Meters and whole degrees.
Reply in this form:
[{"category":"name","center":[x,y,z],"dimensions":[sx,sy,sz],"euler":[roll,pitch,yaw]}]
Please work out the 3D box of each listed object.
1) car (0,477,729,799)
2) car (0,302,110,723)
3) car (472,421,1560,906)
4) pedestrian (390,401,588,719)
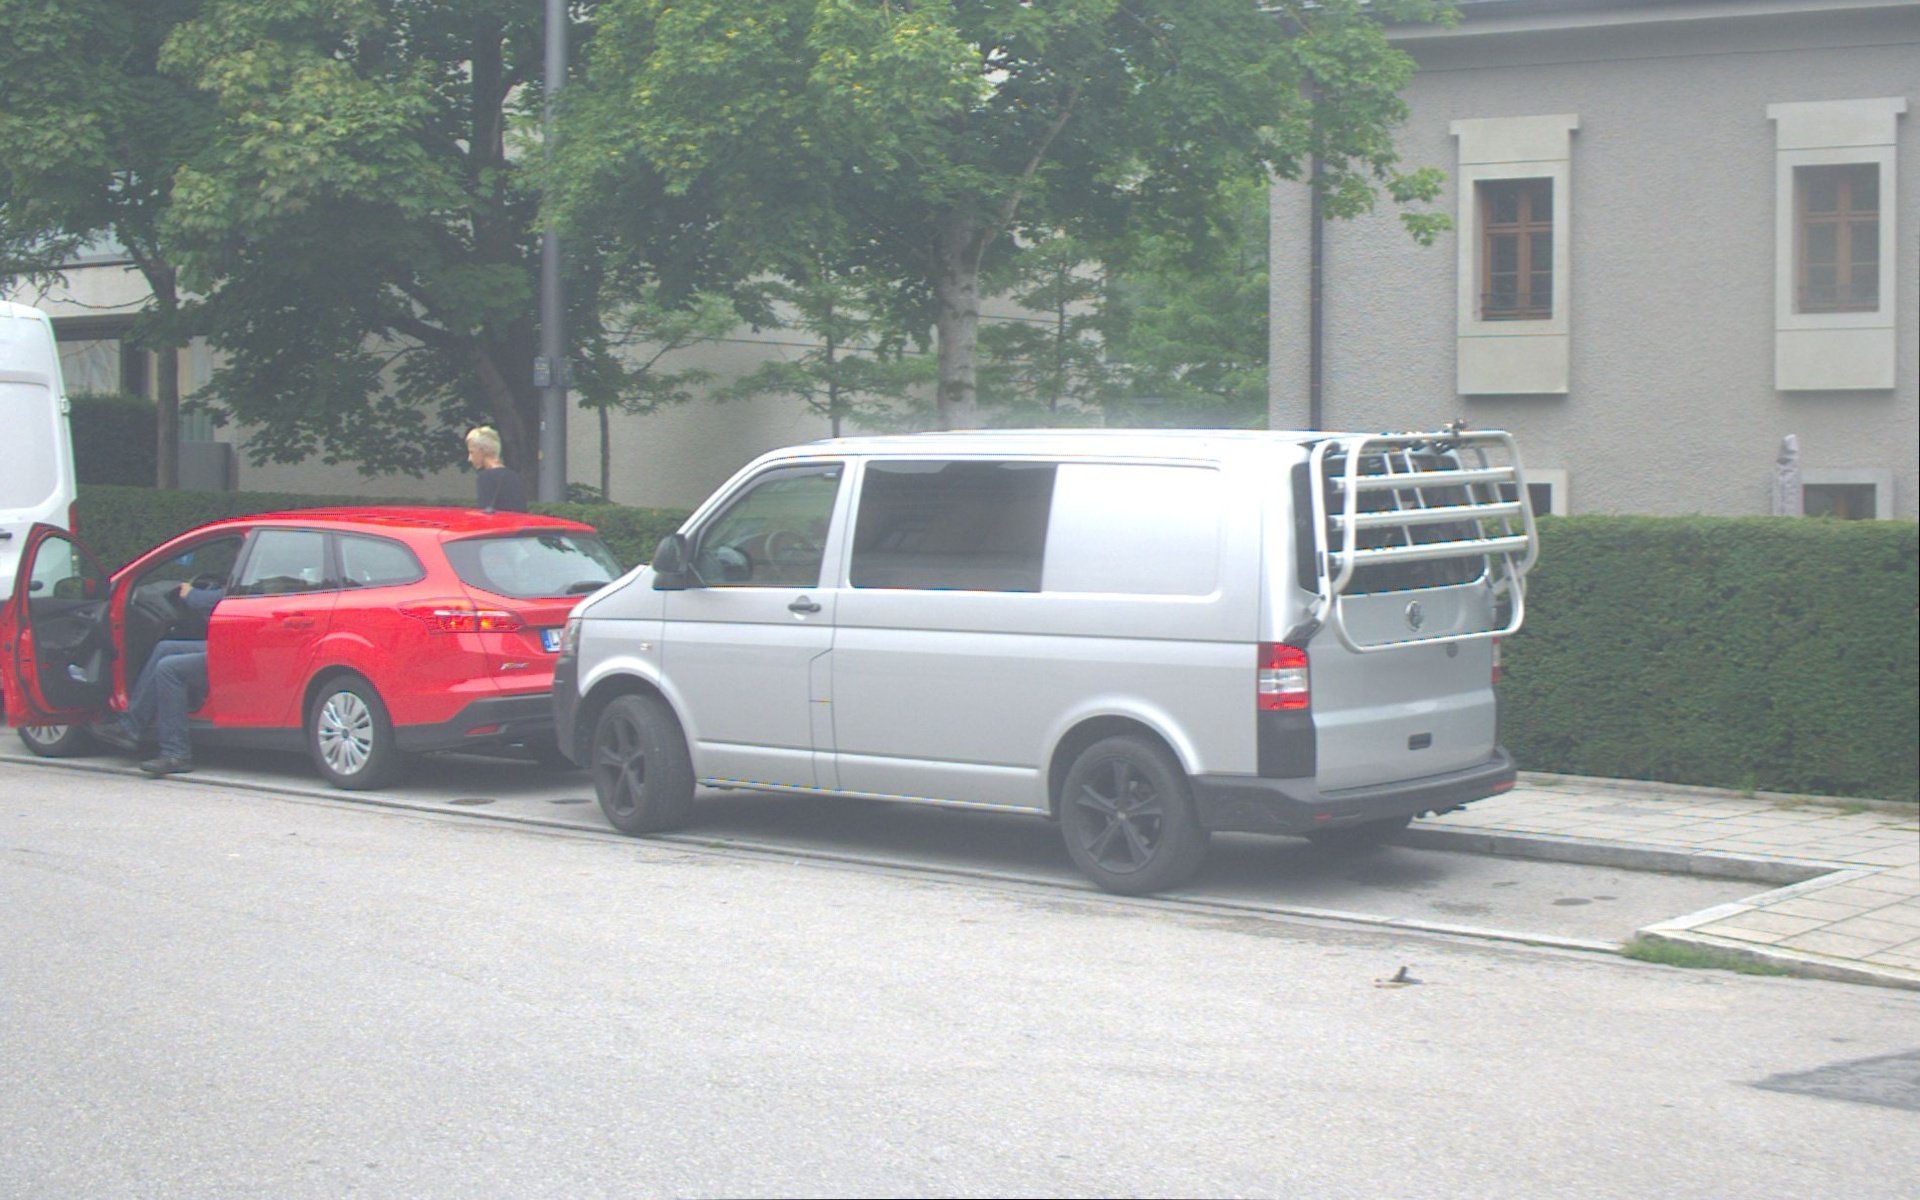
[{"category":"car","center":[-3.754,0.117,19.756],"dimensions":[4.833,1.501,1.873],"euler":[3,5,38]},{"category":"car","center":[-8.616,-0.665,23.606],"dimensions":[6.082,2.677,2.082],"euler":[3,5,38]},{"category":"car","center":[0.122,0.137,16.235],"dimensions":[5.068,1.898,1.937],"euler":[3,5,41]},{"category":"pedestrian","center":[-2.890,-0.250,21.074],"dimensions":[0.796,1.897,0.864],"euler":[1,2,-44]}]
